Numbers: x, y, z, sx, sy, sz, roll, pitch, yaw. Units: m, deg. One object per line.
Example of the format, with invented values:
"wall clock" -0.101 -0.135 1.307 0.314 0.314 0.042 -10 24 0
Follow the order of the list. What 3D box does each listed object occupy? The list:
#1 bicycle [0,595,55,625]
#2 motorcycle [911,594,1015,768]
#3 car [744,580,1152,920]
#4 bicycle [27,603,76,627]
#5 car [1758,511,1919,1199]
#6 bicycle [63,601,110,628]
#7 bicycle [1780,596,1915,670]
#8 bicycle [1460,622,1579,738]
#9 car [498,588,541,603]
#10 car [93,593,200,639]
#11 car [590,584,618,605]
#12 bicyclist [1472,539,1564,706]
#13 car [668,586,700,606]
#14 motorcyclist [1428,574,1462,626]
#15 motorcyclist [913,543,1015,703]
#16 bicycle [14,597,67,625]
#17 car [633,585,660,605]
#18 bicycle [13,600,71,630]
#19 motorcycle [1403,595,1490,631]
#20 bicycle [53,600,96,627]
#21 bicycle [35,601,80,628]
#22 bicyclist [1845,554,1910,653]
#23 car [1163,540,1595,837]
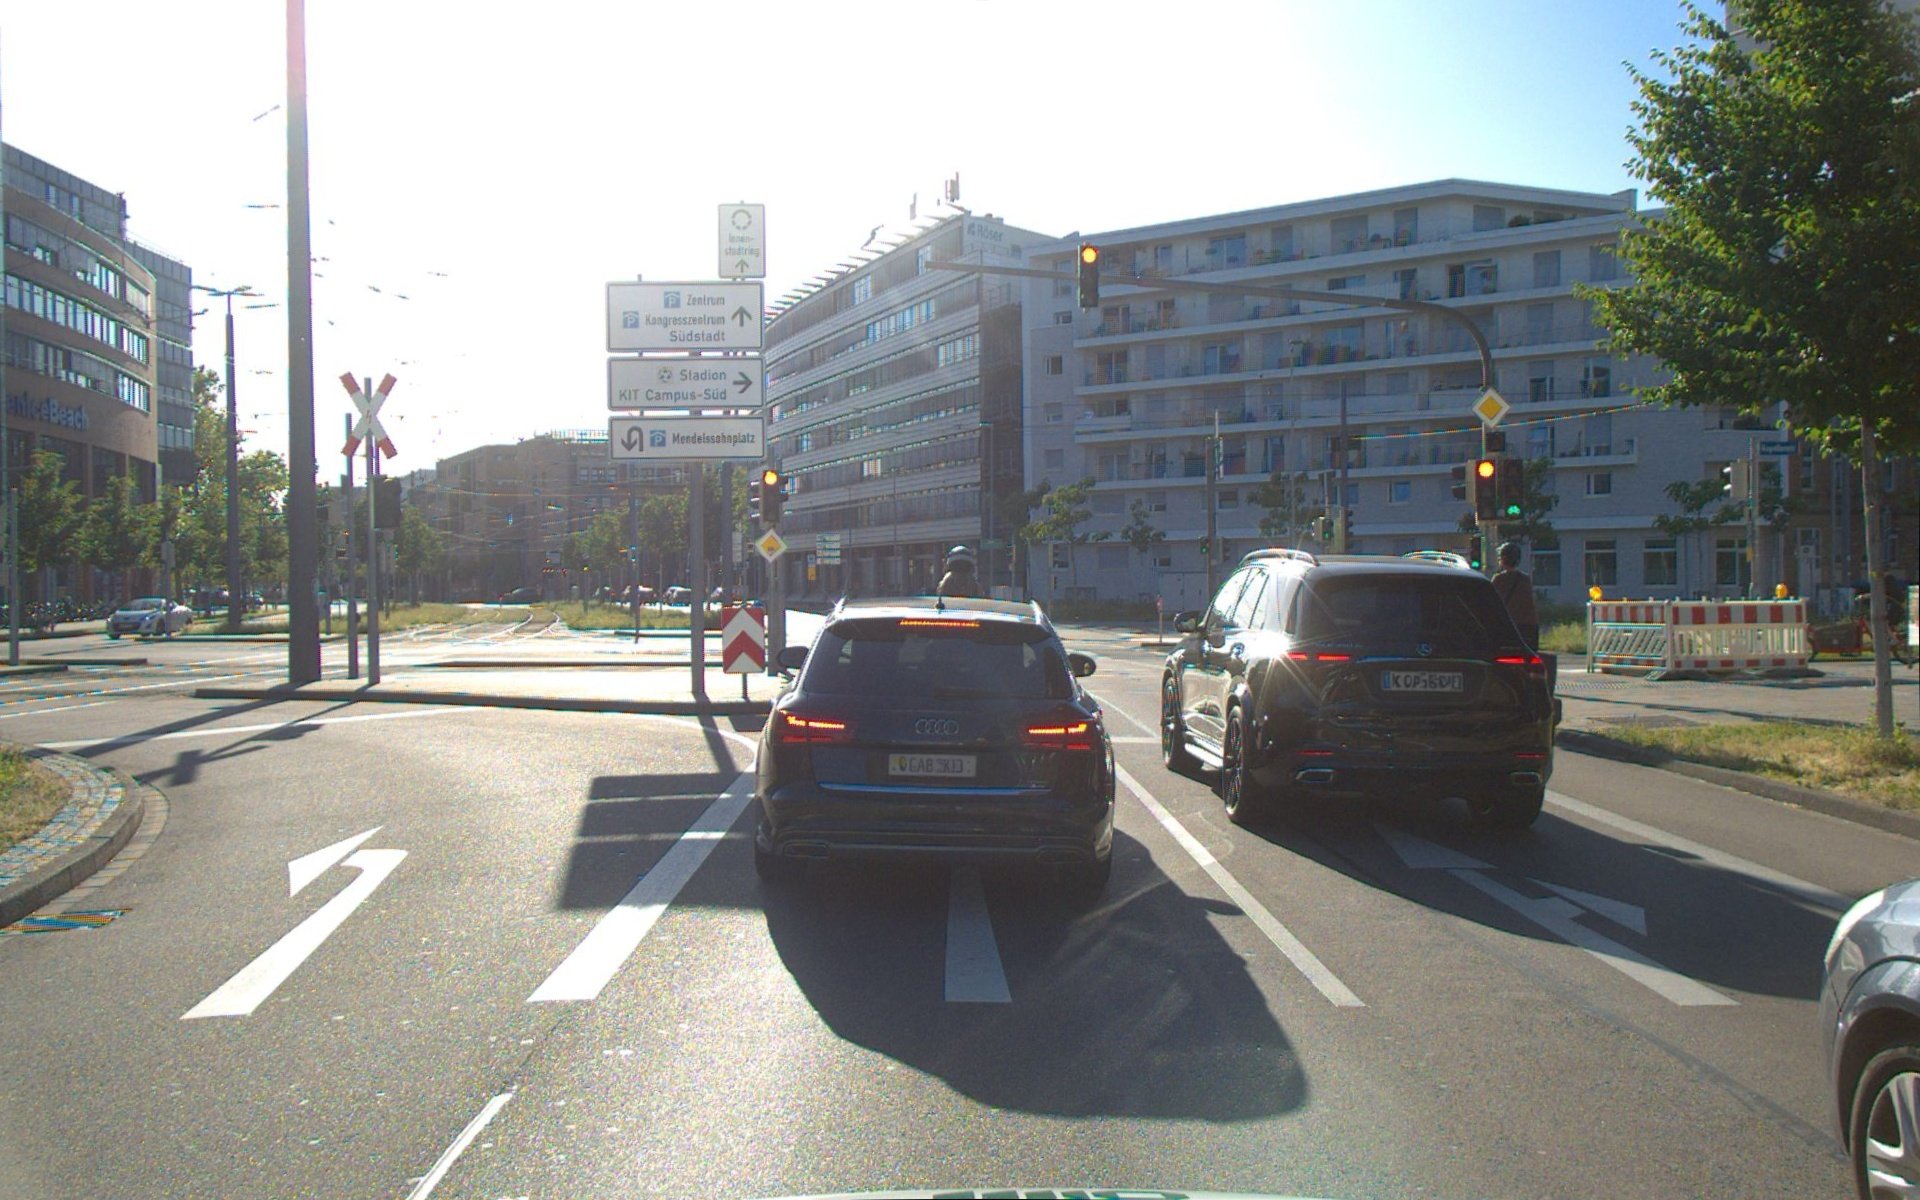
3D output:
"bicycle" -46.305 0.496 81.954 2.507 1.458 0.905 -2 0 8
"motorcycle" 0.011 0.664 14.521 0.845 1.417 1.893 0 0 -1
"car" -0.092 0.652 9.404 1.805 1.479 3.999 1 1 -1
"bicycle" -50.520 0.851 91.998 2.362 1.257 0.745 -2 0 8
"car" 2.932 0.701 2.093 1.710 1.725 4.260 2 0 -1
"bicycle" -50.711 0.841 96.057 2.369 1.458 0.789 -2 0 8
"bicycle" 15.960 0.575 29.772 2.041 1.284 0.765 0 0 38
"bicycle" 5.741 0.795 17.064 0.640 1.061 1.930 0 1 2
"car" -49.090 -0.530 184.351 4.348 1.668 1.981 -1 0 -29
"car" -30.025 0.576 61.186 1.954 1.572 4.526 -1 1 -4
"car" -31.367 -0.449 145.708 1.963 1.736 3.978 -1 0 -19
"bicyclist" 5.741 0.221 17.059 0.640 1.671 0.972 0 1 2
"car" -23.103 -0.312 138.374 1.963 1.624 3.978 -1 0 -19
"motorcyclist" 14.318 -0.015 48.844 0.905 1.507 1.172 -1 0 19
"motorcyclist" 0.030 0.191 14.330 0.845 1.349 0.681 0 0 -1
"bicycle" -50.342 0.616 90.574 2.551 1.458 0.772 -2 0 8
"car" -26.667 -0.438 140.621 1.961 1.624 3.982 -1 0 -16
"bicycle" -46.735 0.753 84.196 2.507 1.458 0.905 -2 0 8
"motorcycle" 14.369 0.388 48.850 2.401 1.018 1.172 -1 0 19
"bicycle" -50.820 0.779 94.882 2.092 1.458 0.759 -2 0 8
"bicycle" -50.676 0.819 92.845 2.197 1.458 0.719 -2 0 8
"bicyclist" 16.341 0.056 29.462 0.912 1.736 0.765 -1 0 38
"car" 2.775 0.499 12.071 1.962 1.745 4.372 1 1 -1
